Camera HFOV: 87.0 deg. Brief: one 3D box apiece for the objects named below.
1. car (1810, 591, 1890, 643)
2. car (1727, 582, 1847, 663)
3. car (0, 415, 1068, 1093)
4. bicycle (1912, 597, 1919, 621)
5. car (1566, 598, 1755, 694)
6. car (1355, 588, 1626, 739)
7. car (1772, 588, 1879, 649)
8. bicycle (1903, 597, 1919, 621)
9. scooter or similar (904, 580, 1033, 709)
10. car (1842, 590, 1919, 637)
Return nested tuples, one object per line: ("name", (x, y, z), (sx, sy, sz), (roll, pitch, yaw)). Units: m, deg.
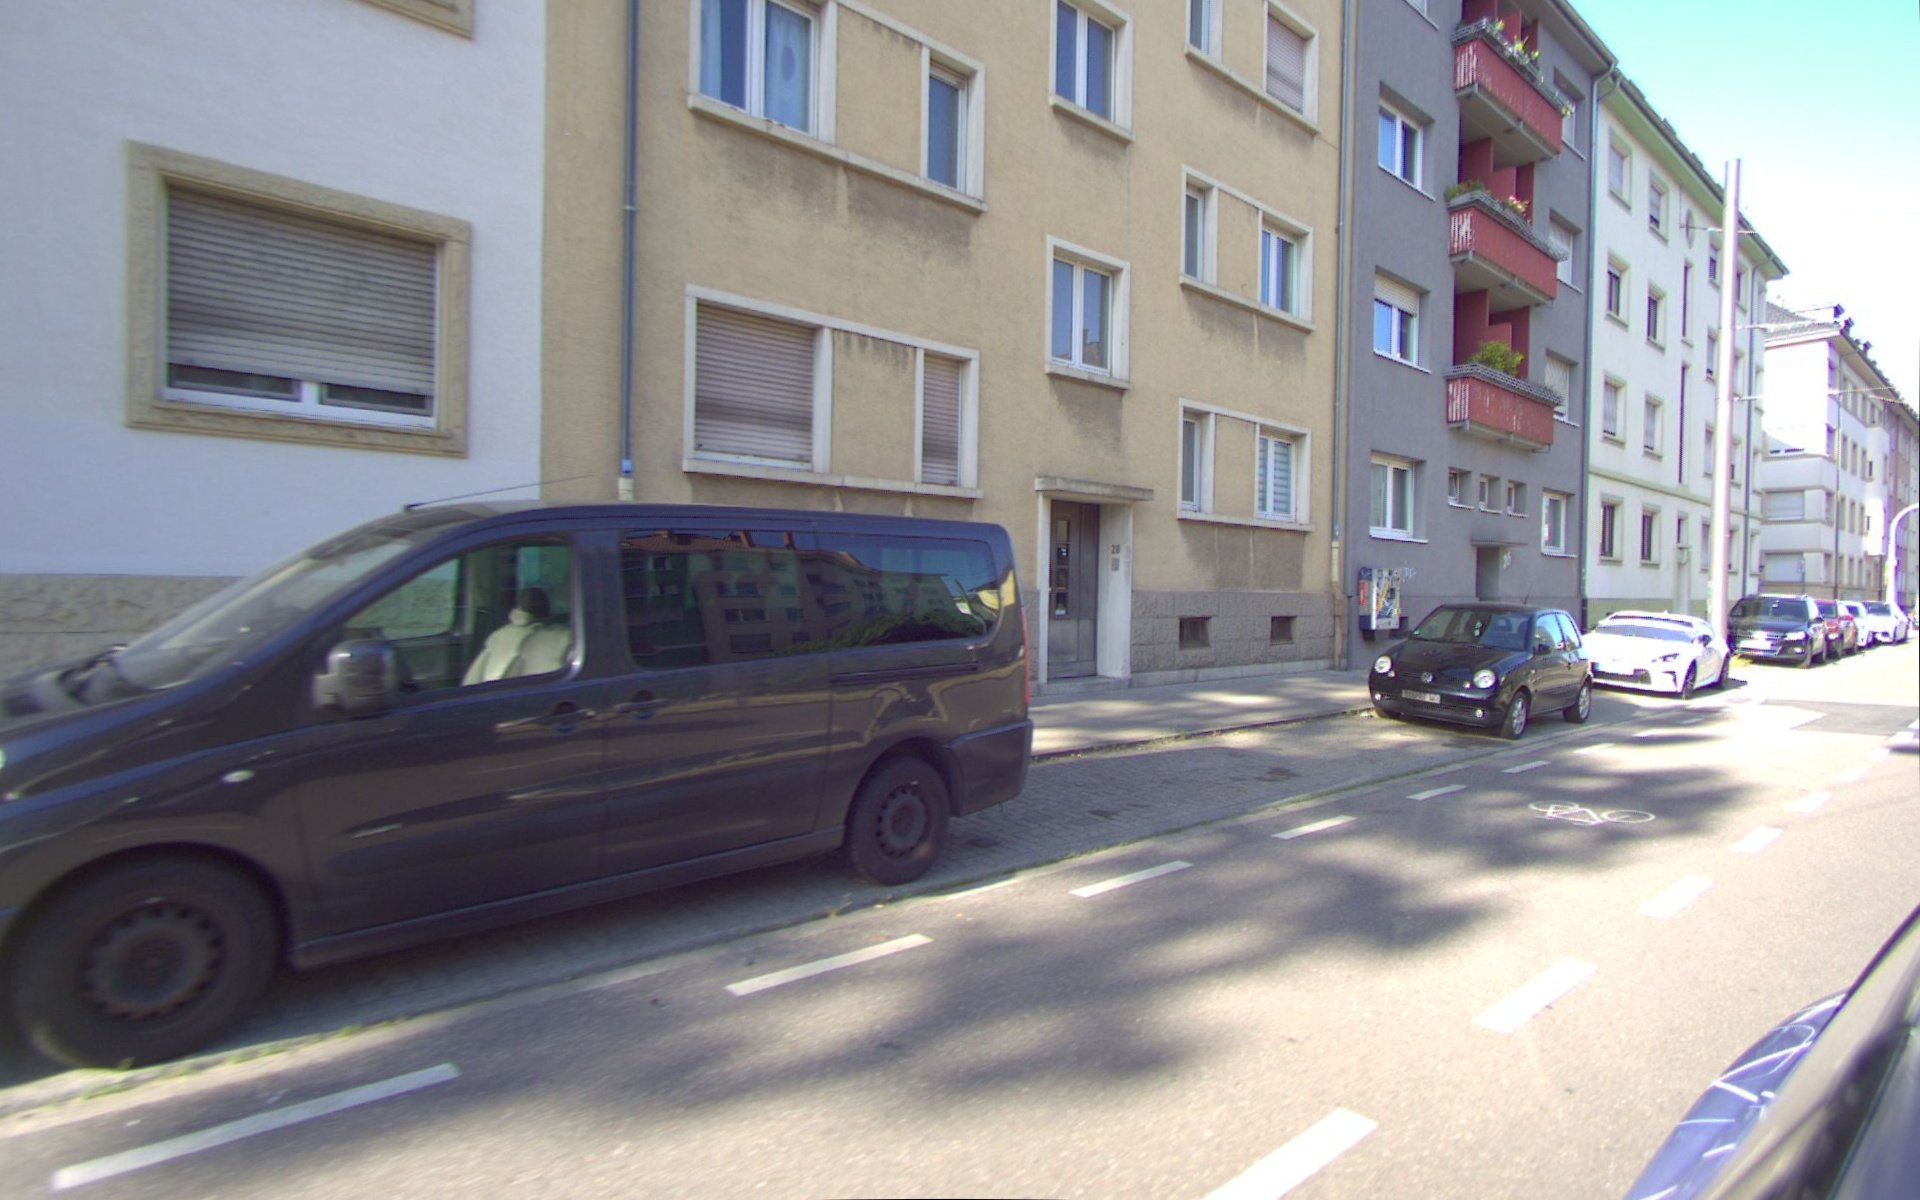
("car", (28.122, 0.480, 31.945), (1.636, 1.476, 4.016), (3, 2, 45))
("car", (19.825, 0.471, 24.210), (4.301, 1.667, 1.638), (0, 4, -44))
("car", (-1.926, 0.359, 4.822), (5.047, 1.922, 1.917), (0, 4, -42))
("bicycle", (47.175, 0.474, 48.942), (0.465, 1.100, 1.918), (-2, 2, 2))
("car", (12.107, 0.699, 17.389), (4.230, 1.290, 1.705), (0, 5, -42))
("car", (6.544, 0.644, 12.339), (3.723, 1.471, 1.639), (0, 4, -41))
("car", (24.017, 0.470, 28.047), (4.115, 1.536, 1.639), (0, 2, -41))
("bicycle", (46.139, 0.465, 48.294), (0.465, 1.100, 1.918), (3, 2, 2))
("scooter or similar", (0.103, 0.435, 10.621), (1.315, 1.253, 0.459), (0, 5, -41))
("car", (31.883, 0.431, 34.845), (4.303, 1.476, 1.697), (0, 2, -41))
